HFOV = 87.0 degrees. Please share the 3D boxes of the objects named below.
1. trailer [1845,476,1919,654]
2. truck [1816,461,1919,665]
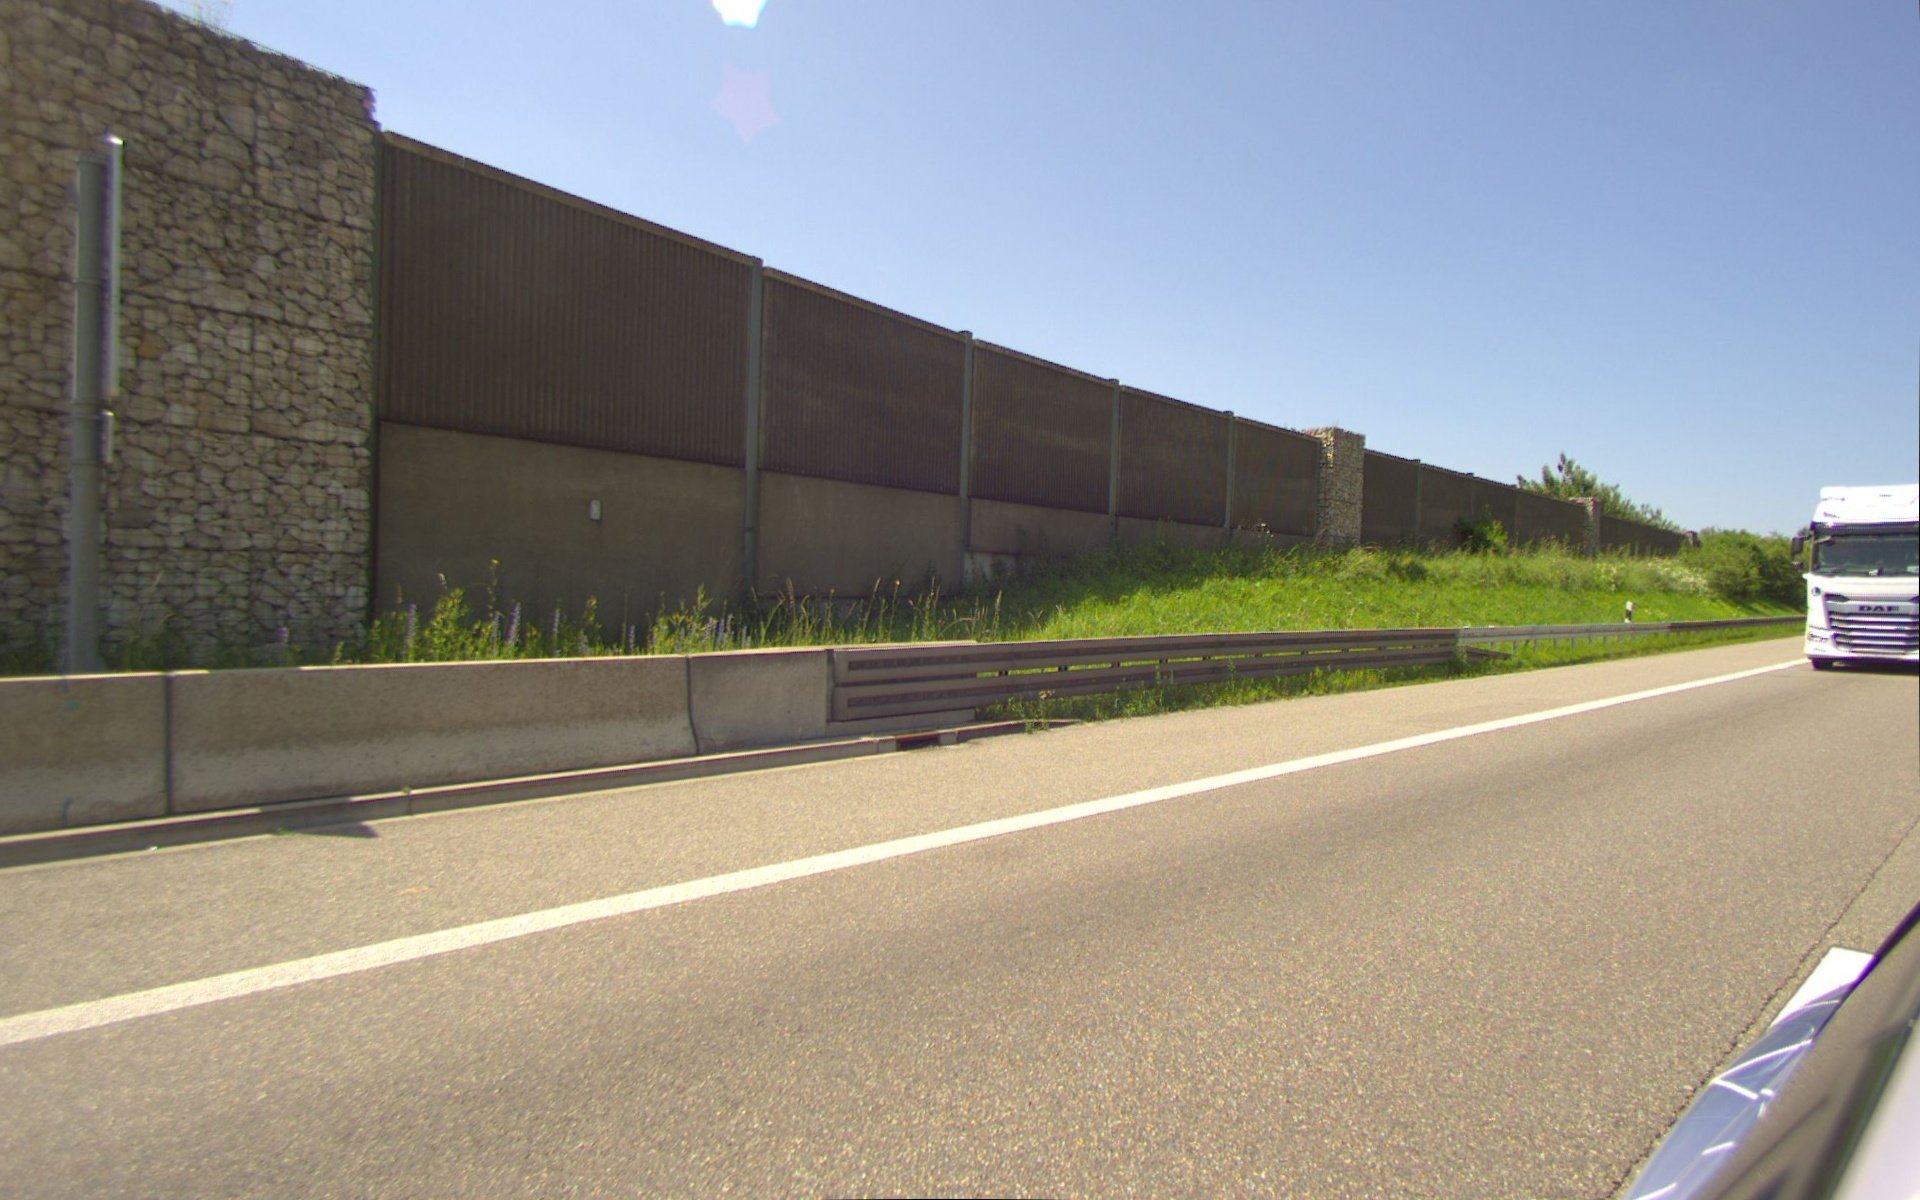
[{"bbox_3d":[26.634,-0.826,27.515,13.424,4.027,2.481,0,1,-43],"label":"trailer"},{"bbox_3d":[21.043,-0.749,22.363,6.273,4.027,2.481,0,1,-43],"label":"truck"}]
